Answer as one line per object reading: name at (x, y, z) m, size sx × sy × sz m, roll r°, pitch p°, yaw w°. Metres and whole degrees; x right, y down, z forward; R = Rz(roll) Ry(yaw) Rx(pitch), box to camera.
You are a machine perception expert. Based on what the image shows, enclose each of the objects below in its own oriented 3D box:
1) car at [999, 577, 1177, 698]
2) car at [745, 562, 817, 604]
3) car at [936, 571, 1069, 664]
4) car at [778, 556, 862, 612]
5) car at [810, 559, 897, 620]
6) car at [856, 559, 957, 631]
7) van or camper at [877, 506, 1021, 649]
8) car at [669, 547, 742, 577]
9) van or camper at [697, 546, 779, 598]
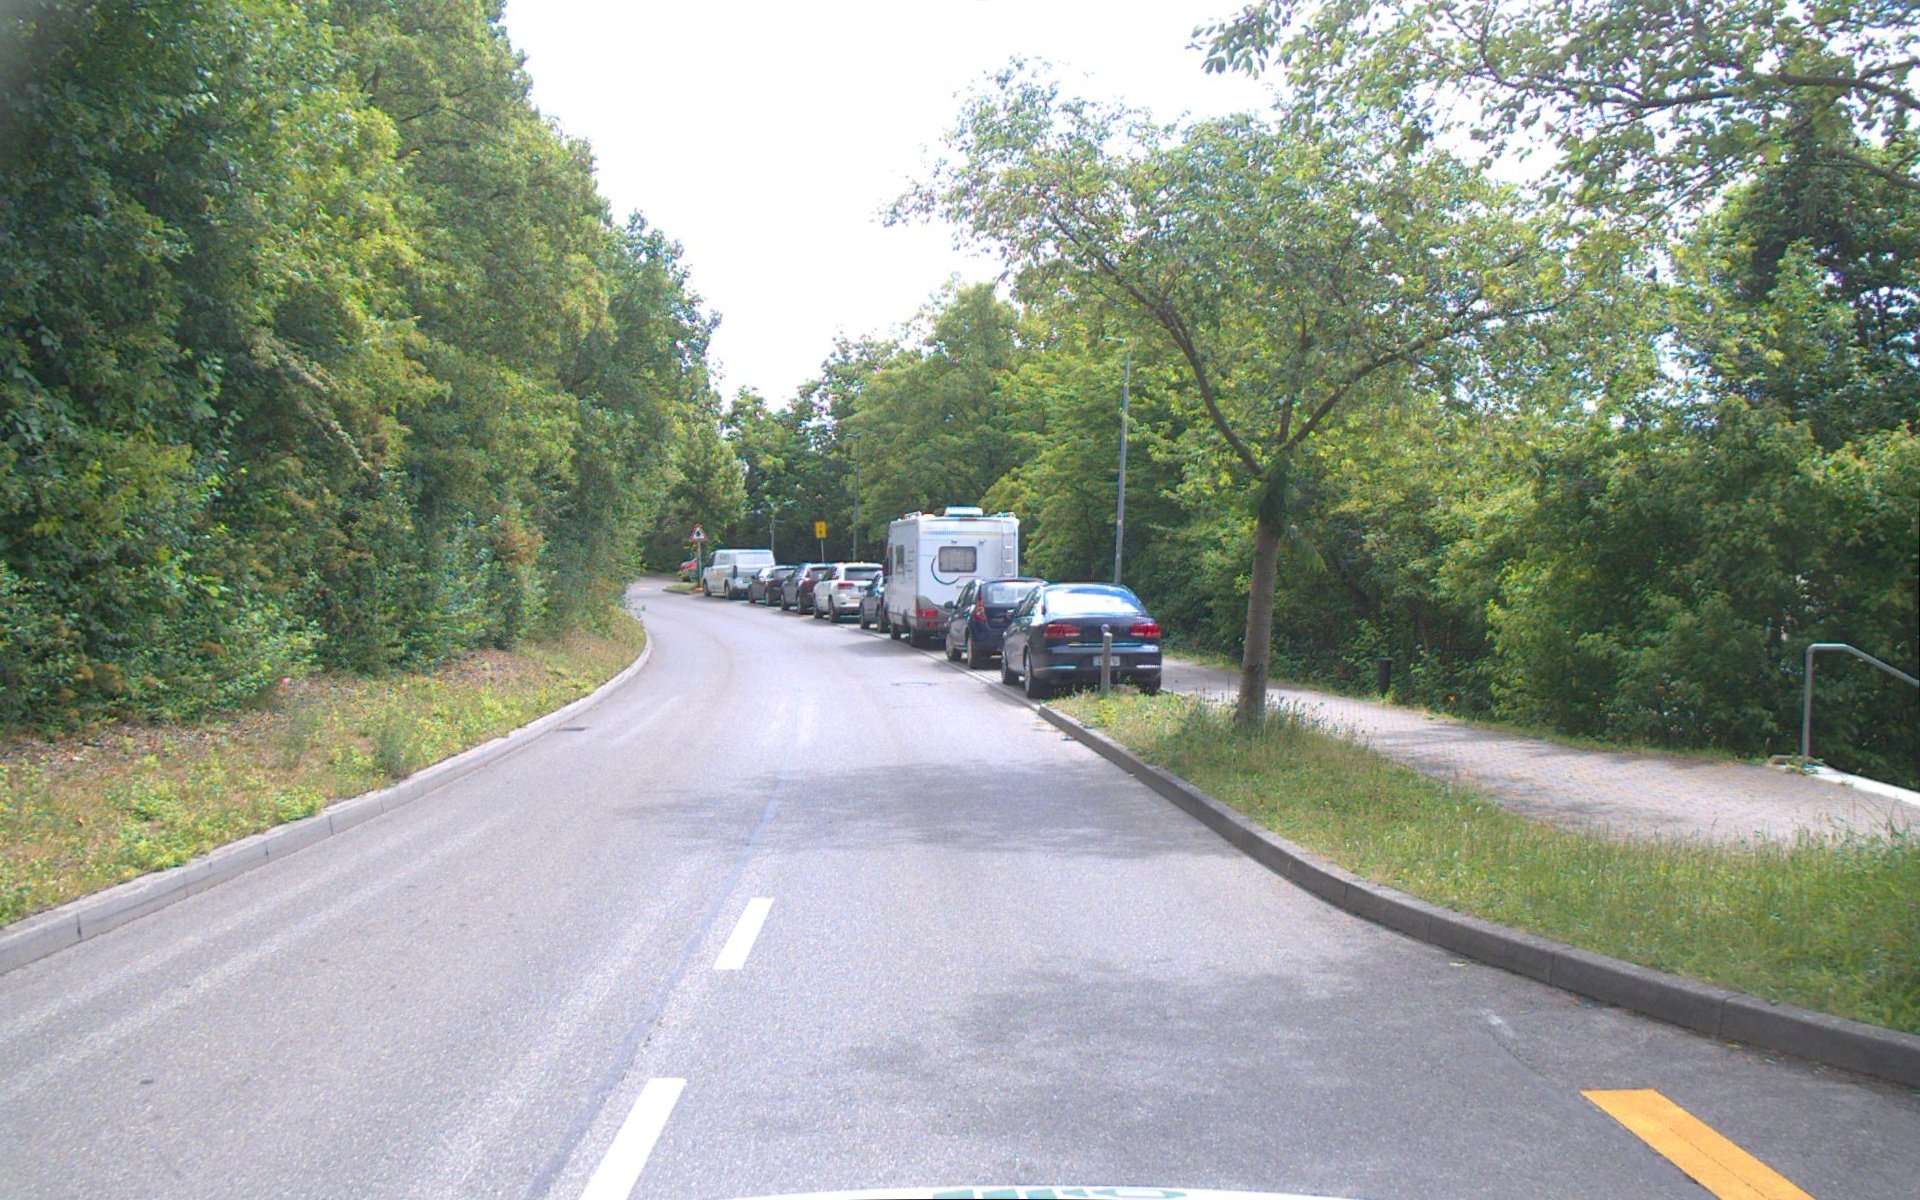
car at (1.647, 0.436, 22.714) m, size 1.741 × 1.459 × 4.329 m, roll -1°, pitch 1°, yaw -5°
car at (-6.789, -0.662, 62.426) m, size 1.772 × 1.489 × 3.976 m, roll 0°, pitch 2°, yaw -20°
car at (0.693, 0.296, 29.829) m, size 1.697 × 1.545 × 3.880 m, roll -1°, pitch 0°, yaw -9°
car at (-4.782, -0.572, 55.951) m, size 1.962 × 1.654 × 4.259 m, roll -3°, pitch 3°, yaw -16°
car at (-3.291, -0.355, 50.330) m, size 1.840 × 1.718 × 4.563 m, roll 1°, pitch 2°, yaw -14°
car at (-1.447, -0.178, 43.411) m, size 1.683 × 1.618 × 3.985 m, roll -7°, pitch 3°, yaw -14°
van or camper at (-0.374, -0.520, 37.353) m, size 2.290 × 2.919 × 6.137 m, roll 1°, pitch 1°, yaw -9°
car at (-13.401, -1.995, 87.069) m, size 3.486 × 1.506 × 1.771 m, roll -1°, pitch 4°, yaw -22°
van or camper at (-9.156, -1.187, 67.878) m, size 1.967 × 1.953 × 5.227 m, roll -2°, pitch 3°, yaw -24°
